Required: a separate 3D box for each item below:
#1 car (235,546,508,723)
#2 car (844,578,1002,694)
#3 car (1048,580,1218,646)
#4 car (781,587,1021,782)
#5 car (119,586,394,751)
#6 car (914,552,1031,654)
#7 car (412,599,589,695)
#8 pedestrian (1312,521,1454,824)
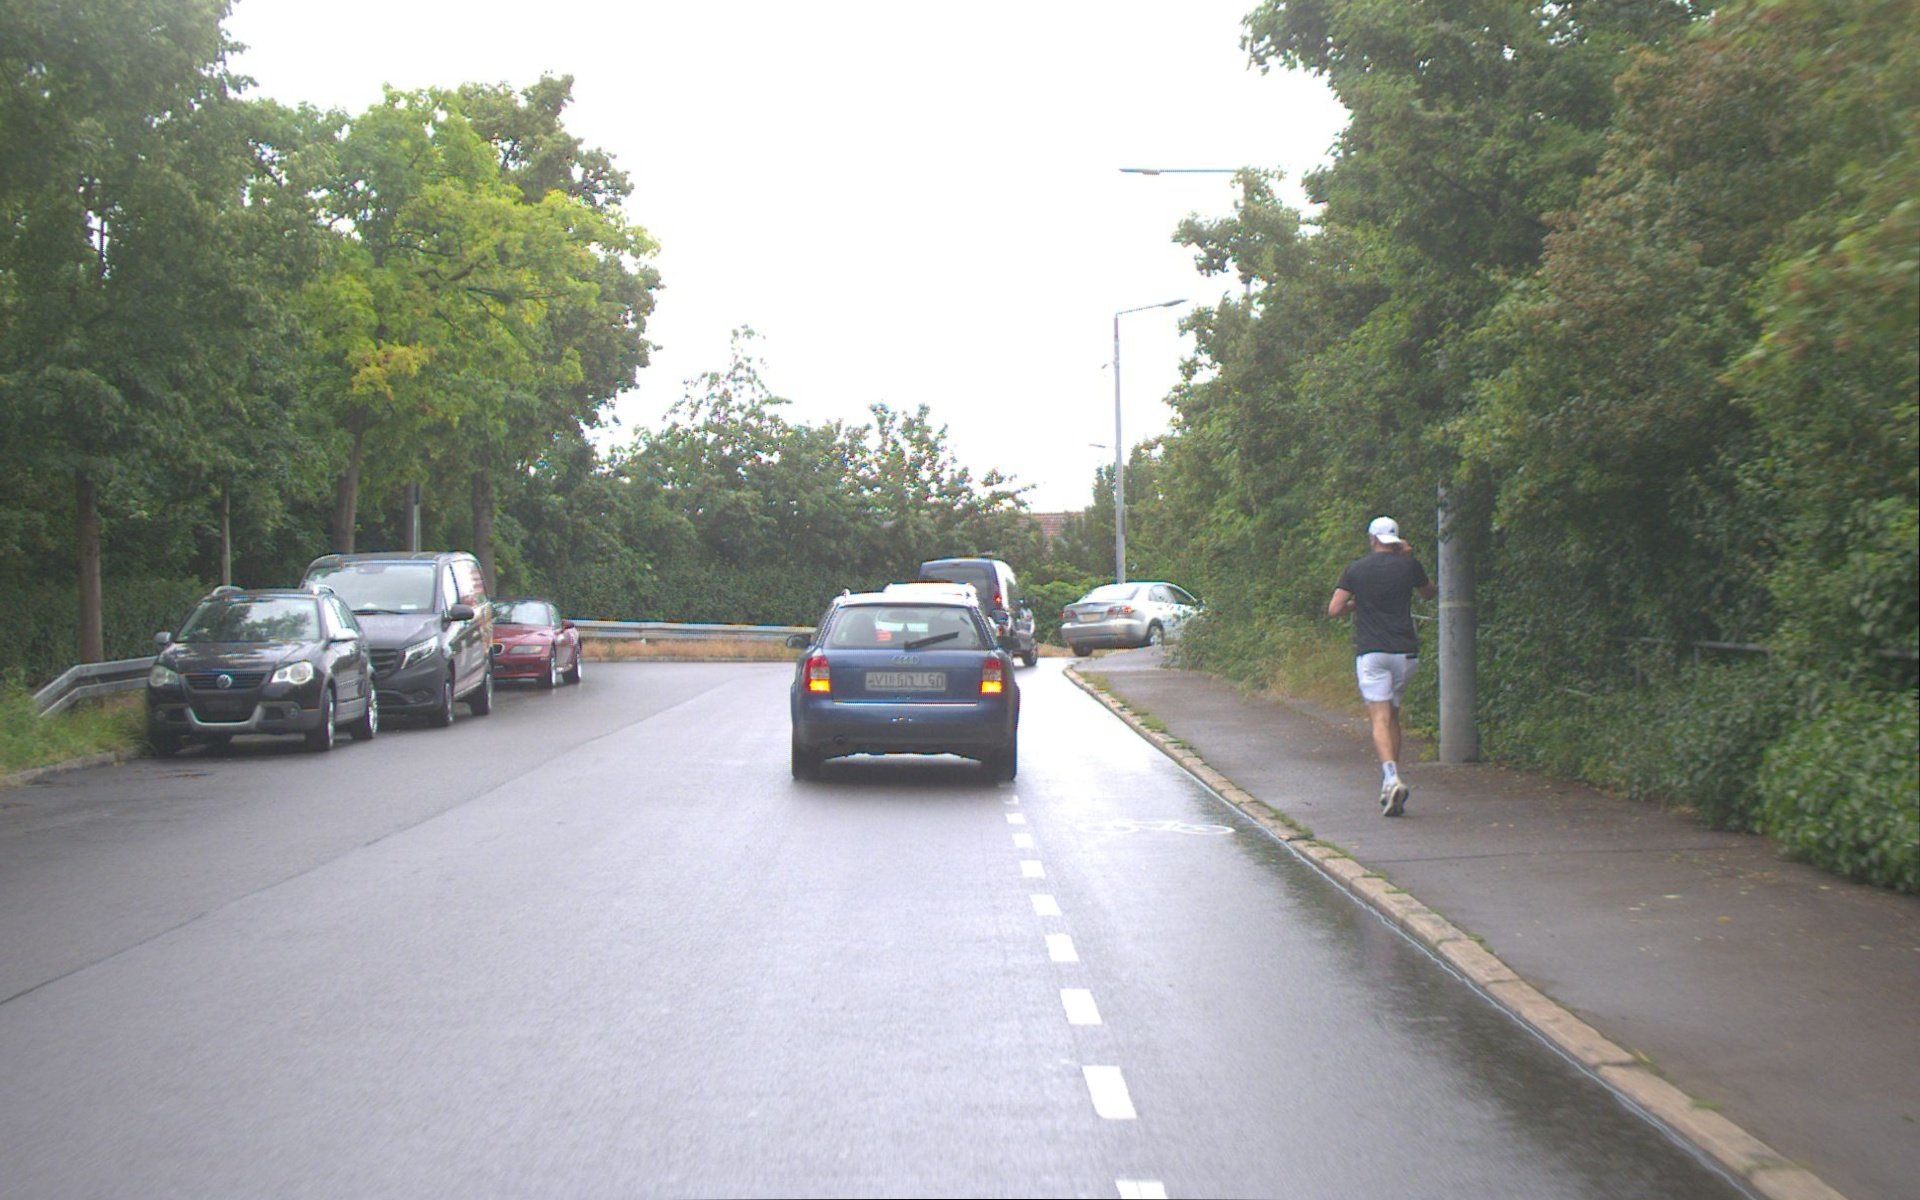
[{"bbox_3d":[-6.500,0.370,38.600,2.083,1.813,5.380,-1,0,0],"label":"car"},{"bbox_3d":[-0.423,0.444,43.430,1.891,1.384,4.000,-1,0,1],"label":"car"},{"bbox_3d":[3.421,0.236,67.426,1.824,1.198,3.779,-2,0,29],"label":"car"},{"bbox_3d":[-0.471,0.619,27.305,1.747,1.403,4.000,-1,0,-1],"label":"car"},{"bbox_3d":[-6.588,0.612,32.627,1.797,1.432,4.256,-1,0,-1],"label":"car"},{"bbox_3d":[0.181,0.056,57.749,1.822,1.611,3.785,-2,0,-1],"label":"car"},{"bbox_3d":[-6.534,0.651,49.300,1.789,1.292,4.325,-1,0,2],"label":"car"},{"bbox_3d":[2.638,0.440,21.539,0.717,1.828,1.021,-2,0,2],"label":"pedestrian"}]
